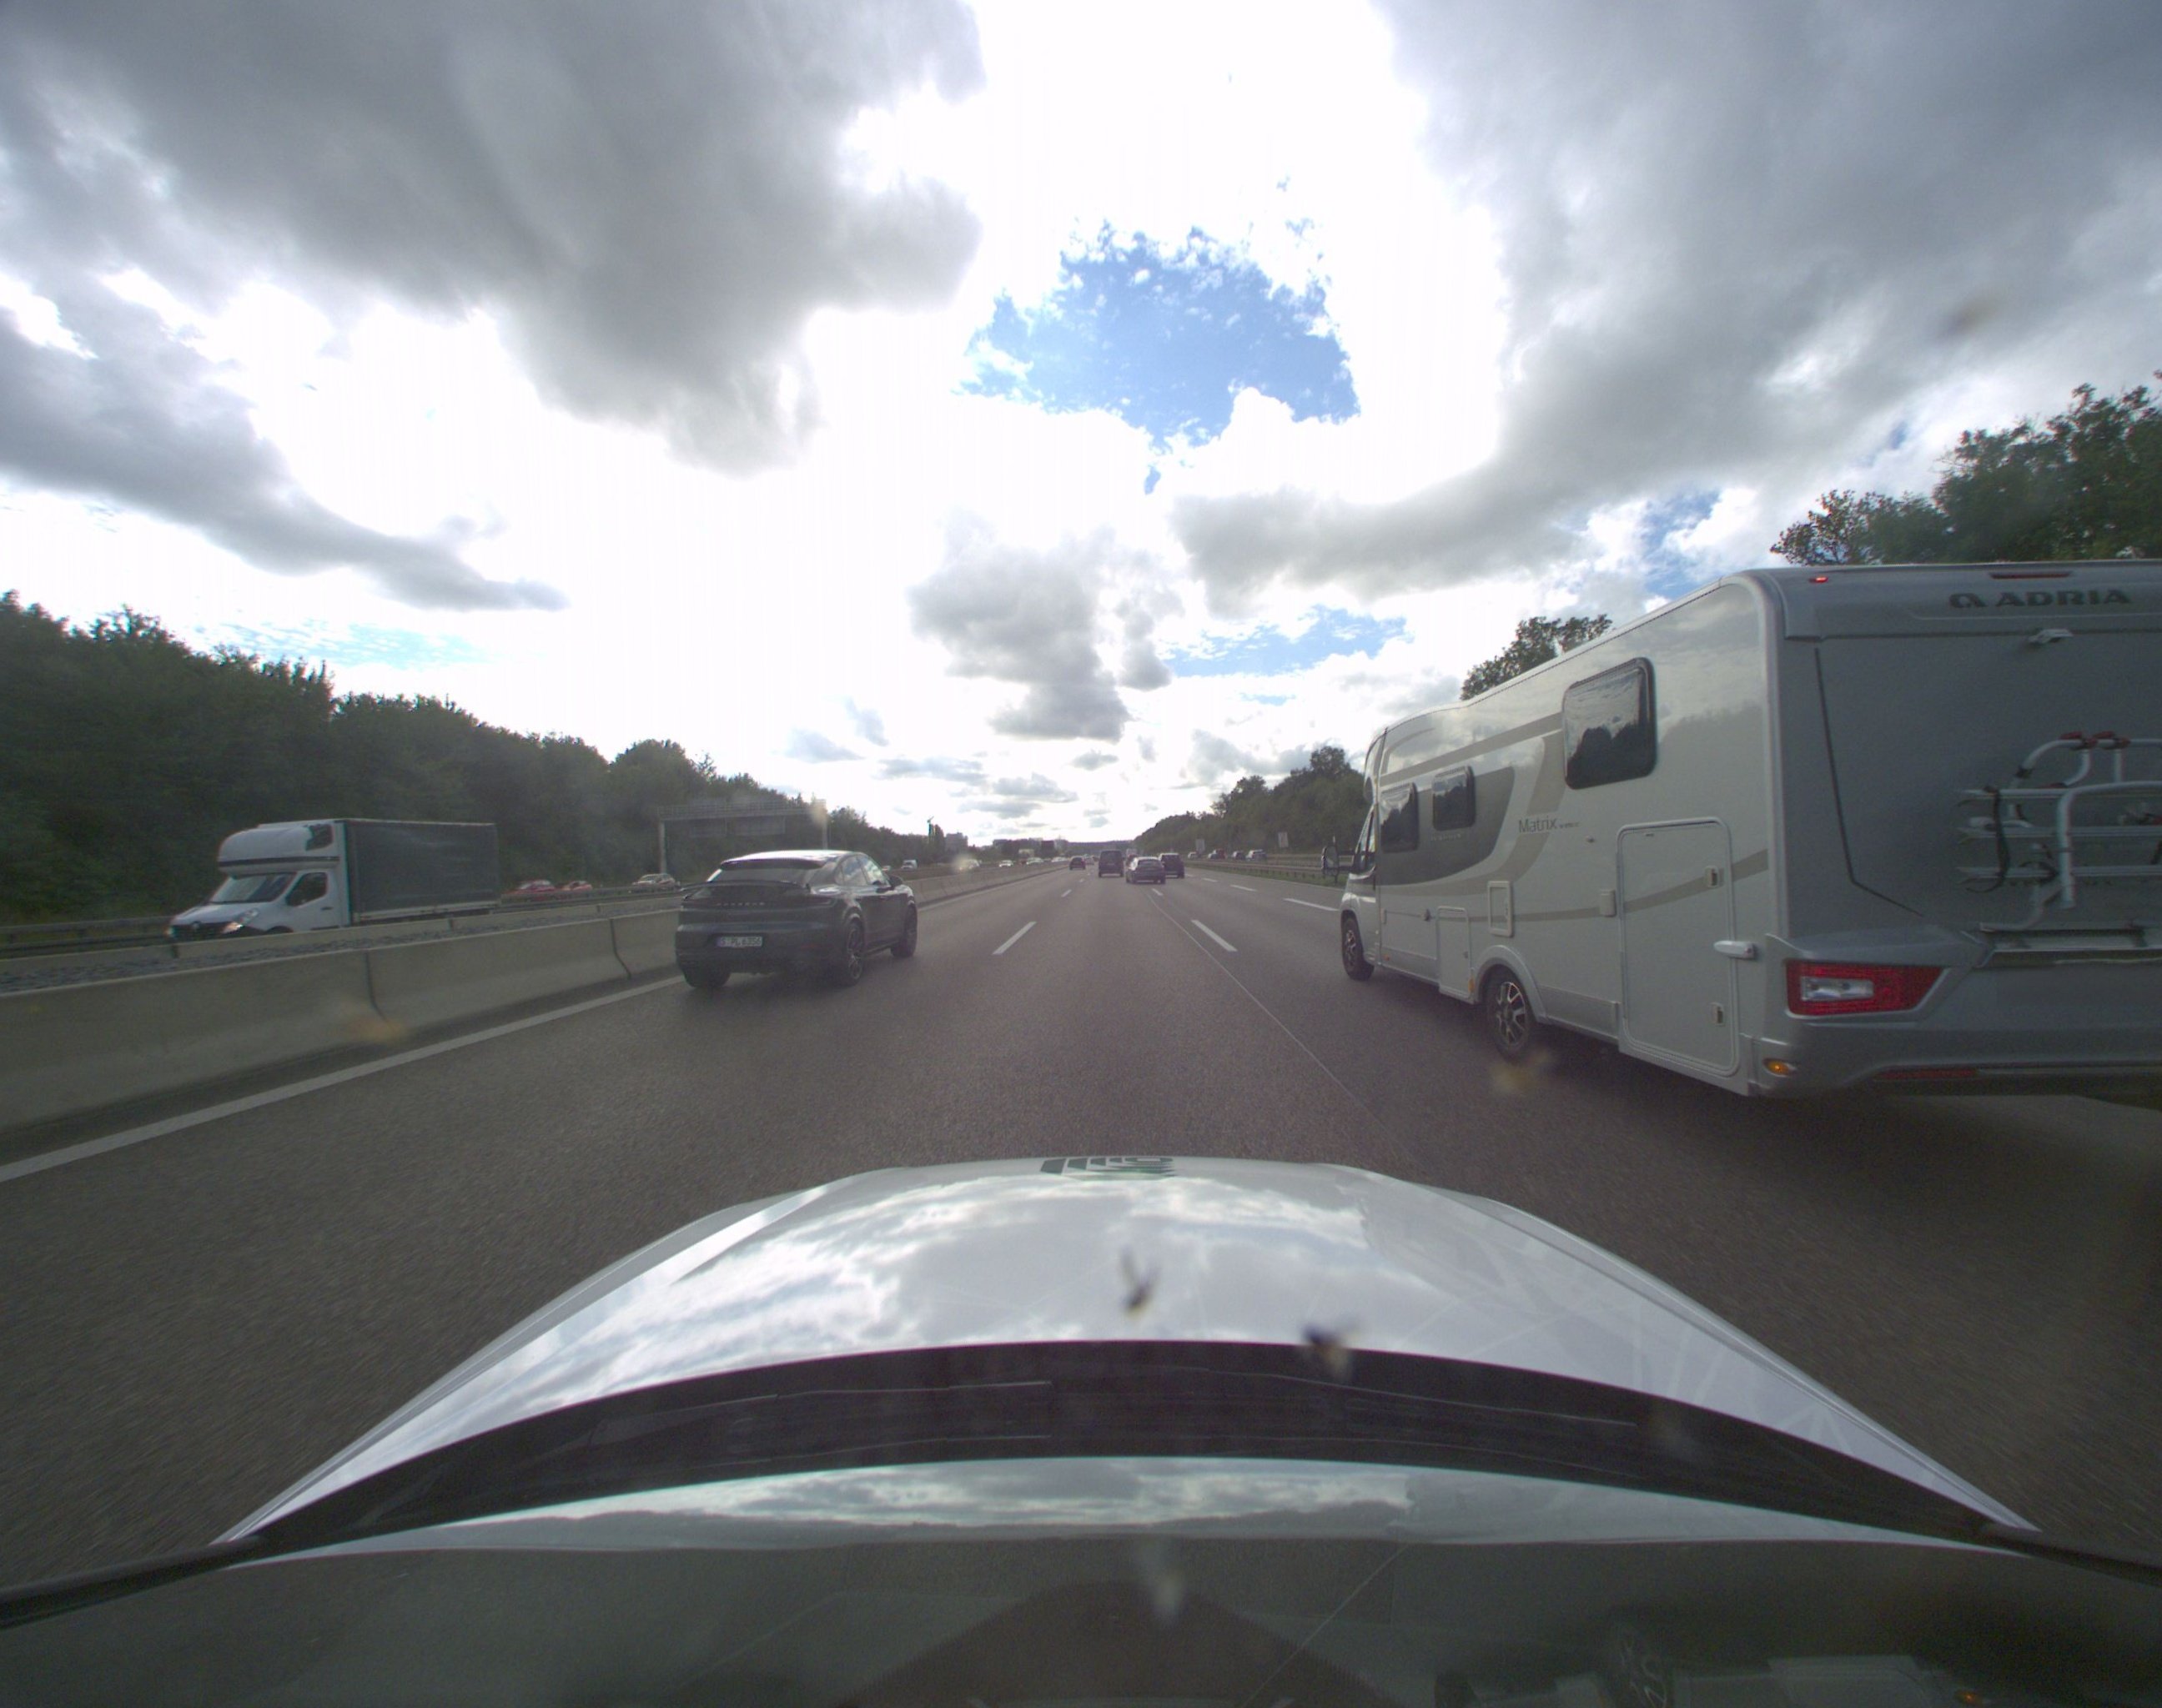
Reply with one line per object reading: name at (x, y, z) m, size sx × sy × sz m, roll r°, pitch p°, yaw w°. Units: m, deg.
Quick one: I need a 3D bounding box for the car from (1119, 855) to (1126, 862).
car at (11.091, 1.181, 219.481) m, size 1.745 × 1.695 × 4.192 m, roll -2°, pitch 0°, yaw 2°

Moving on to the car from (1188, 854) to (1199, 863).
car at (22.645, 0.845, 164.358) m, size 1.745 × 1.695 × 4.192 m, roll -2°, pitch 0°, yaw 2°

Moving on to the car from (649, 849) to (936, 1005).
car at (-3.594, 0.787, 11.503) m, size 1.905 × 1.636 × 5.502 m, roll -2°, pitch 0°, yaw 2°

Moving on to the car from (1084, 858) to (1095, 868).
car at (1.474, 1.509, 138.634) m, size 1.691 × 1.611 × 4.114 m, roll -2°, pitch 0°, yaw 1°

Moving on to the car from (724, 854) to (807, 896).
car at (-18.494, 1.162, 48.164) m, size 2.156 × 2.271 × 6.462 m, roll -2°, pitch 0°, yaw 1°

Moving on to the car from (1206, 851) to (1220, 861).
car at (21.277, 0.295, 131.716) m, size 1.590 × 1.546 × 4.190 m, roll -2°, pitch 0°, yaw 0°

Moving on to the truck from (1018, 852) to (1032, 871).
truck at (-13.543, 1.835, 197.303) m, size 2.885 × 4.323 × 5.164 m, roll -2°, pitch 0°, yaw 2°

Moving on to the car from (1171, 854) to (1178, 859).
car at (29.431, 0.786, 255.110) m, size 1.746 × 1.517 × 4.190 m, roll -2°, pitch 0°, yaw 1°

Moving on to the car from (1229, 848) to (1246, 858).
car at (25.158, -0.147, 130.936) m, size 1.723 × 1.546 × 4.305 m, roll -4°, pitch 0°, yaw 0°

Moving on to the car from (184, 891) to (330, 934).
car at (-32.255, 2.241, 32.054) m, size 1.558 × 1.365 × 4.052 m, roll -2°, pitch 0°, yaw 1°

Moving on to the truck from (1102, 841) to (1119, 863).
truck at (6.015, -0.387, 165.730) m, size 3.250 × 4.375 × 11.030 m, roll -1°, pitch 0°, yaw 2°

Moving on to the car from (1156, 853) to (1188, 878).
car at (6.012, 0.758, 54.073) m, size 1.691 × 1.564 × 4.114 m, roll -2°, pitch 0°, yaw 1°

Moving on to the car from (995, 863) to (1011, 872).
car at (-11.949, 2.005, 124.844) m, size 1.764 × 1.294 × 4.677 m, roll -1°, pitch 0°, yaw 2°

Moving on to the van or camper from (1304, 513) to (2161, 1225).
van or camper at (4.090, 0.053, 6.965) m, size 2.459 × 2.722 × 7.664 m, roll -1°, pitch 0°, yaw 2°

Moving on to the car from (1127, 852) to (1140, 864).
car at (8.590, 0.671, 134.247) m, size 1.906 × 1.919 × 4.032 m, roll -2°, pitch 0°, yaw 2°

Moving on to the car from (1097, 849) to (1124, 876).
car at (2.161, 0.609, 60.045) m, size 1.848 × 1.910 × 4.261 m, roll -2°, pitch 0°, yaw 2°

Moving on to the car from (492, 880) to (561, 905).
car at (-35.488, 2.419, 52.271) m, size 1.558 × 1.365 × 4.052 m, roll -2°, pitch 0°, yaw 1°

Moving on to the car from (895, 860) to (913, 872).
car at (-35.239, 2.333, 162.175) m, size 1.985 × 2.234 × 5.895 m, roll -2°, pitch 0°, yaw 3°

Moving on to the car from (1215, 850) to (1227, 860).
car at (26.533, 0.277, 154.219) m, size 1.590 × 1.804 × 3.825 m, roll -2°, pitch 0°, yaw 0°

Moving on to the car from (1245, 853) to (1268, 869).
car at (20.608, 0.819, 95.704) m, size 1.840 × 1.650 × 4.308 m, roll -4°, pitch 0°, yaw 2°

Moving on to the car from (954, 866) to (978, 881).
car at (-12.583, 2.120, 89.091) m, size 1.768 × 1.561 × 4.782 m, roll -2°, pitch 0°, yaw 1°

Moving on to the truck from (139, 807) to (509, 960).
truck at (-19.367, 0.654, 21.791) m, size 2.345 × 3.263 × 7.828 m, roll -2°, pitch 0°, yaw 1°

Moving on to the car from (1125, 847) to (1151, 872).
car at (4.205, 0.397, 60.200) m, size 1.714 × 1.724 × 4.393 m, roll -2°, pitch 0°, yaw 2°

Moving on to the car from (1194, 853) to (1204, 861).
car at (27.151, 0.646, 187.296) m, size 1.745 × 1.695 × 4.192 m, roll -2°, pitch 0°, yaw 2°

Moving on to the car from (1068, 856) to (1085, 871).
car at (-0.488, 1.094, 97.207) m, size 1.866 × 1.698 × 4.073 m, roll -2°, pitch 0°, yaw 2°

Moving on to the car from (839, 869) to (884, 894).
car at (-14.505, 1.785, 54.066) m, size 1.731 × 1.511 × 4.052 m, roll -2°, pitch 0°, yaw 1°

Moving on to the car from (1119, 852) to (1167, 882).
car at (3.317, 0.695, 44.293) m, size 1.719 × 1.479 × 4.379 m, roll -2°, pitch 0°, yaw -8°

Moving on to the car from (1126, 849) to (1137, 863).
car at (8.733, 0.377, 141.146) m, size 1.866 × 2.357 × 4.283 m, roll -2°, pitch 0°, yaw 2°
